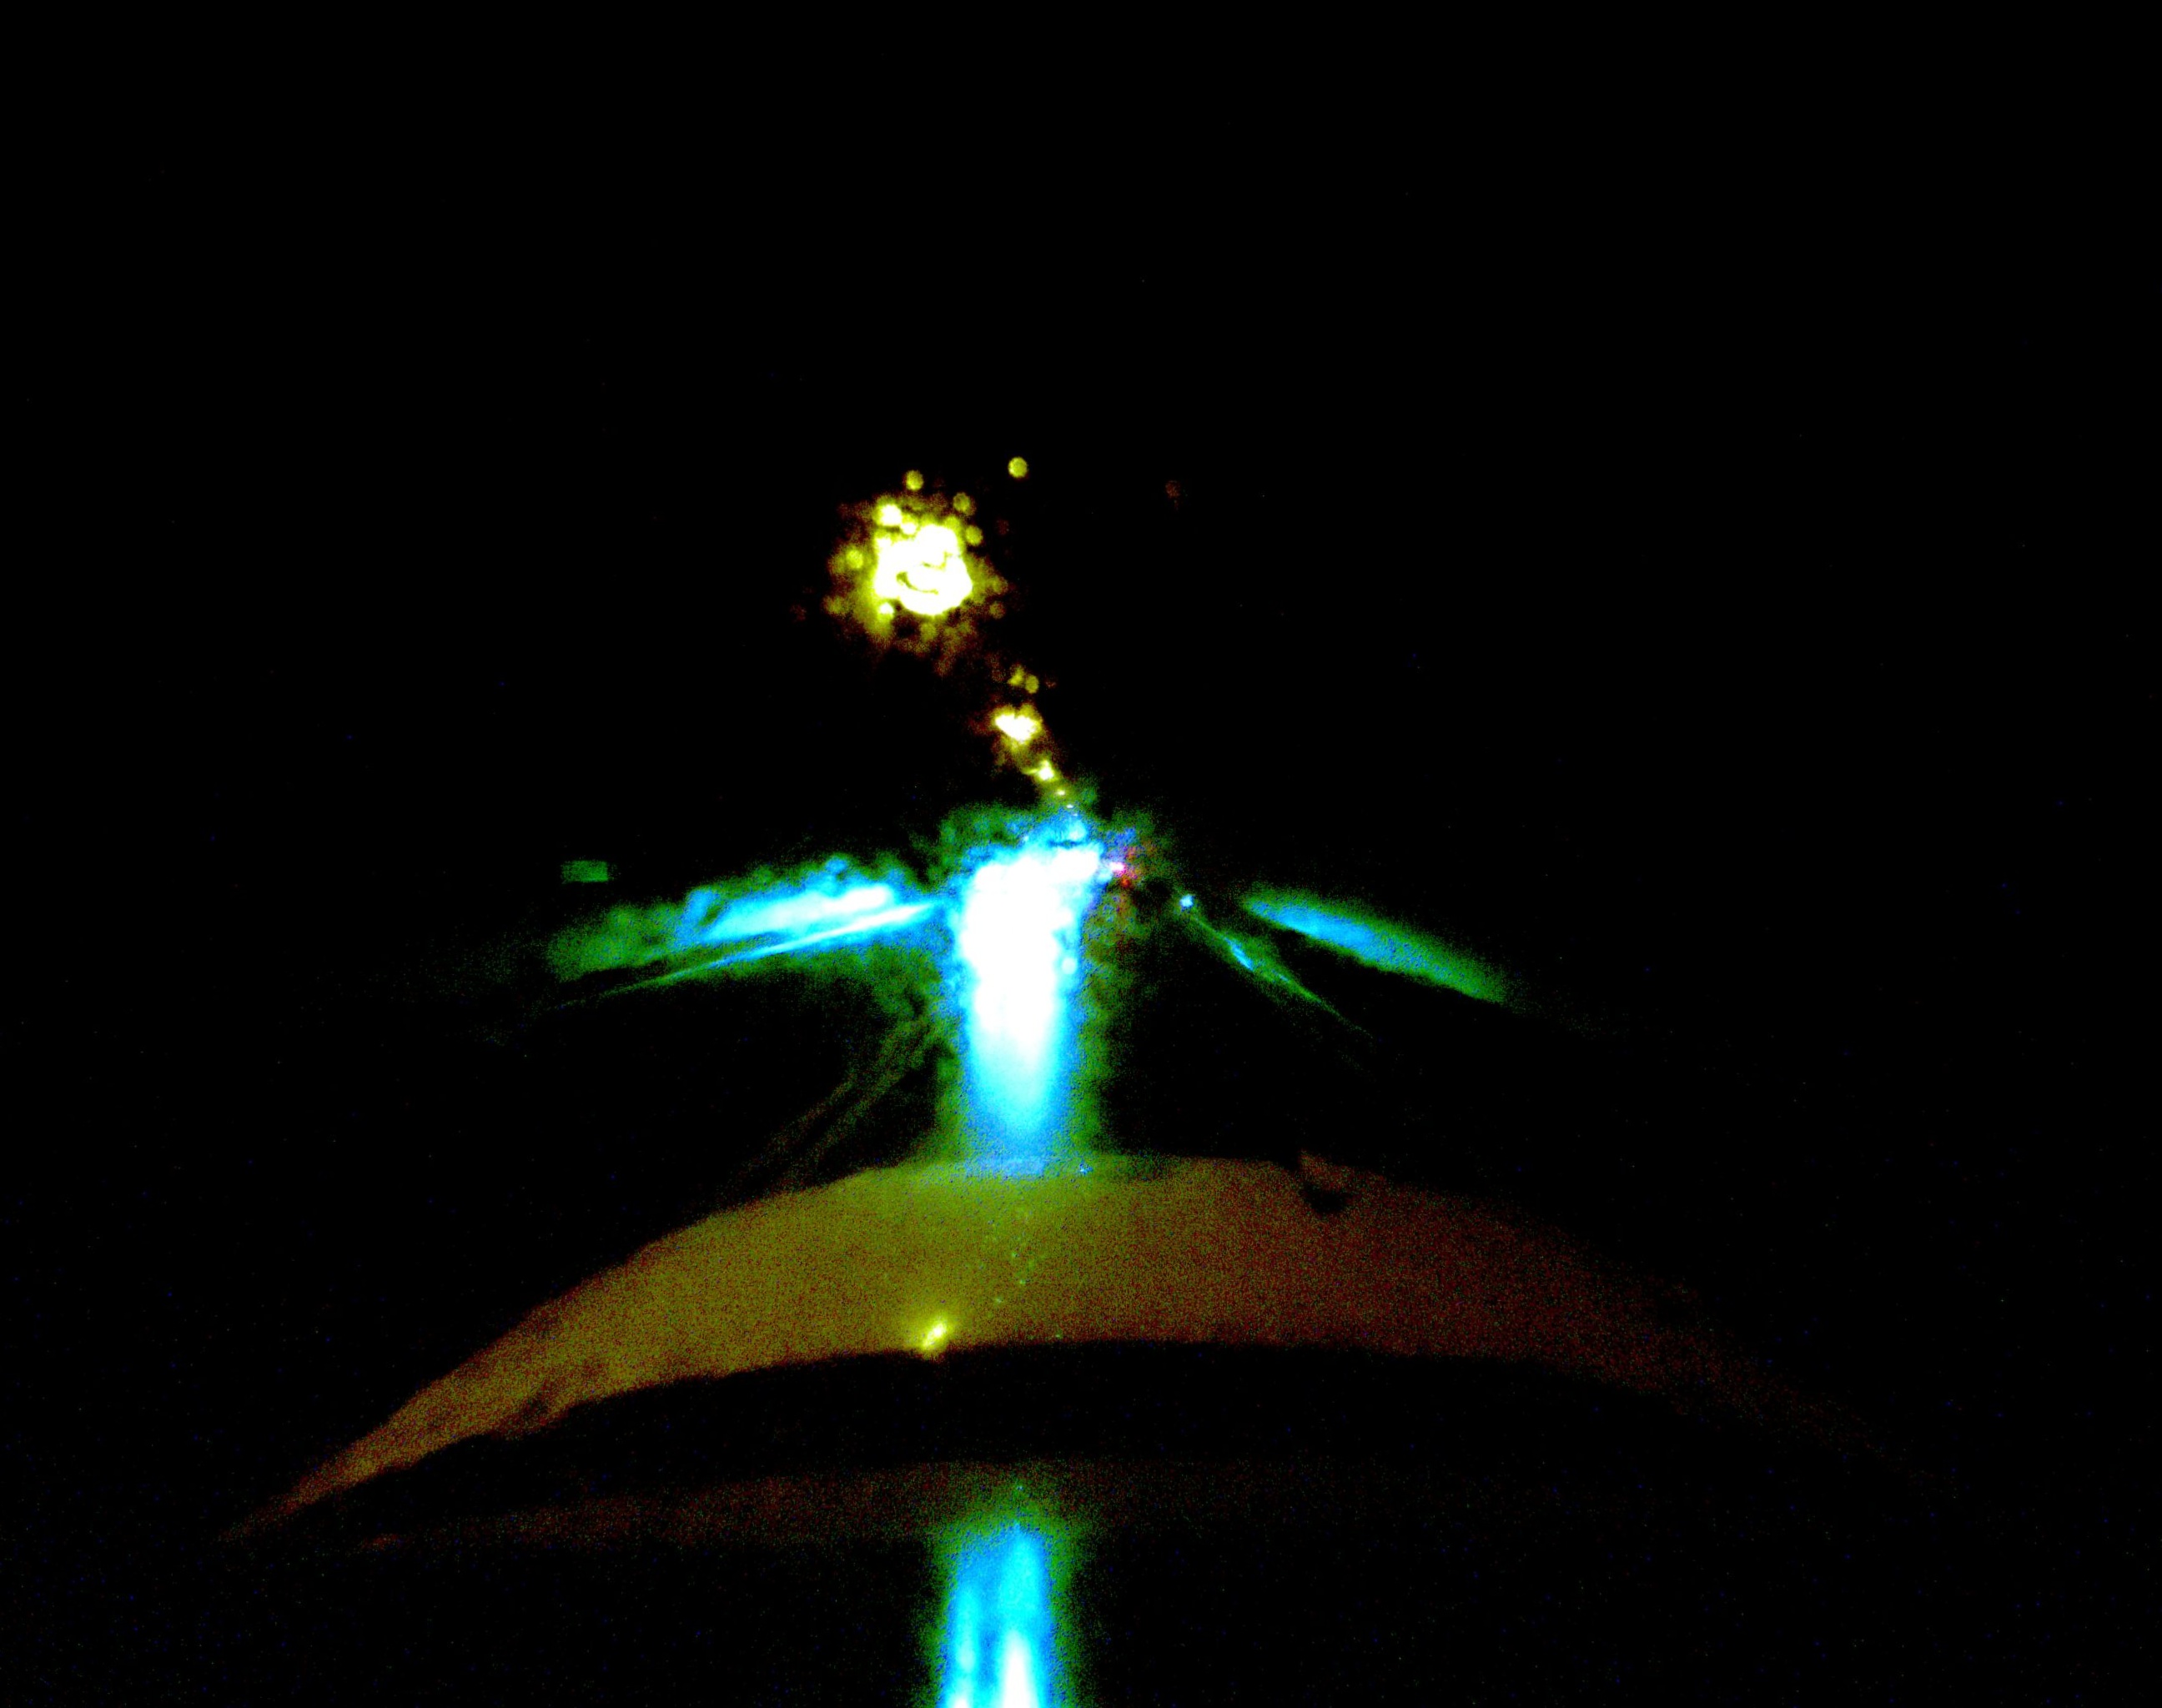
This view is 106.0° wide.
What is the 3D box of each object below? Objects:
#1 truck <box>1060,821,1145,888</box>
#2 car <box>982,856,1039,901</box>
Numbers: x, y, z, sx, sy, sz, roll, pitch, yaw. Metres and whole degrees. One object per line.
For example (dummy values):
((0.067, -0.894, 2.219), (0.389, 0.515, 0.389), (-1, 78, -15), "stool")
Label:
((1.077, 0.024, 39.305), (3.522, 2.693, 8.959), (-2, 0, 2), "truck")
((-2.692, 0.907, 31.800), (1.742, 1.584, 4.001), (-1, 0, 1), "car")
